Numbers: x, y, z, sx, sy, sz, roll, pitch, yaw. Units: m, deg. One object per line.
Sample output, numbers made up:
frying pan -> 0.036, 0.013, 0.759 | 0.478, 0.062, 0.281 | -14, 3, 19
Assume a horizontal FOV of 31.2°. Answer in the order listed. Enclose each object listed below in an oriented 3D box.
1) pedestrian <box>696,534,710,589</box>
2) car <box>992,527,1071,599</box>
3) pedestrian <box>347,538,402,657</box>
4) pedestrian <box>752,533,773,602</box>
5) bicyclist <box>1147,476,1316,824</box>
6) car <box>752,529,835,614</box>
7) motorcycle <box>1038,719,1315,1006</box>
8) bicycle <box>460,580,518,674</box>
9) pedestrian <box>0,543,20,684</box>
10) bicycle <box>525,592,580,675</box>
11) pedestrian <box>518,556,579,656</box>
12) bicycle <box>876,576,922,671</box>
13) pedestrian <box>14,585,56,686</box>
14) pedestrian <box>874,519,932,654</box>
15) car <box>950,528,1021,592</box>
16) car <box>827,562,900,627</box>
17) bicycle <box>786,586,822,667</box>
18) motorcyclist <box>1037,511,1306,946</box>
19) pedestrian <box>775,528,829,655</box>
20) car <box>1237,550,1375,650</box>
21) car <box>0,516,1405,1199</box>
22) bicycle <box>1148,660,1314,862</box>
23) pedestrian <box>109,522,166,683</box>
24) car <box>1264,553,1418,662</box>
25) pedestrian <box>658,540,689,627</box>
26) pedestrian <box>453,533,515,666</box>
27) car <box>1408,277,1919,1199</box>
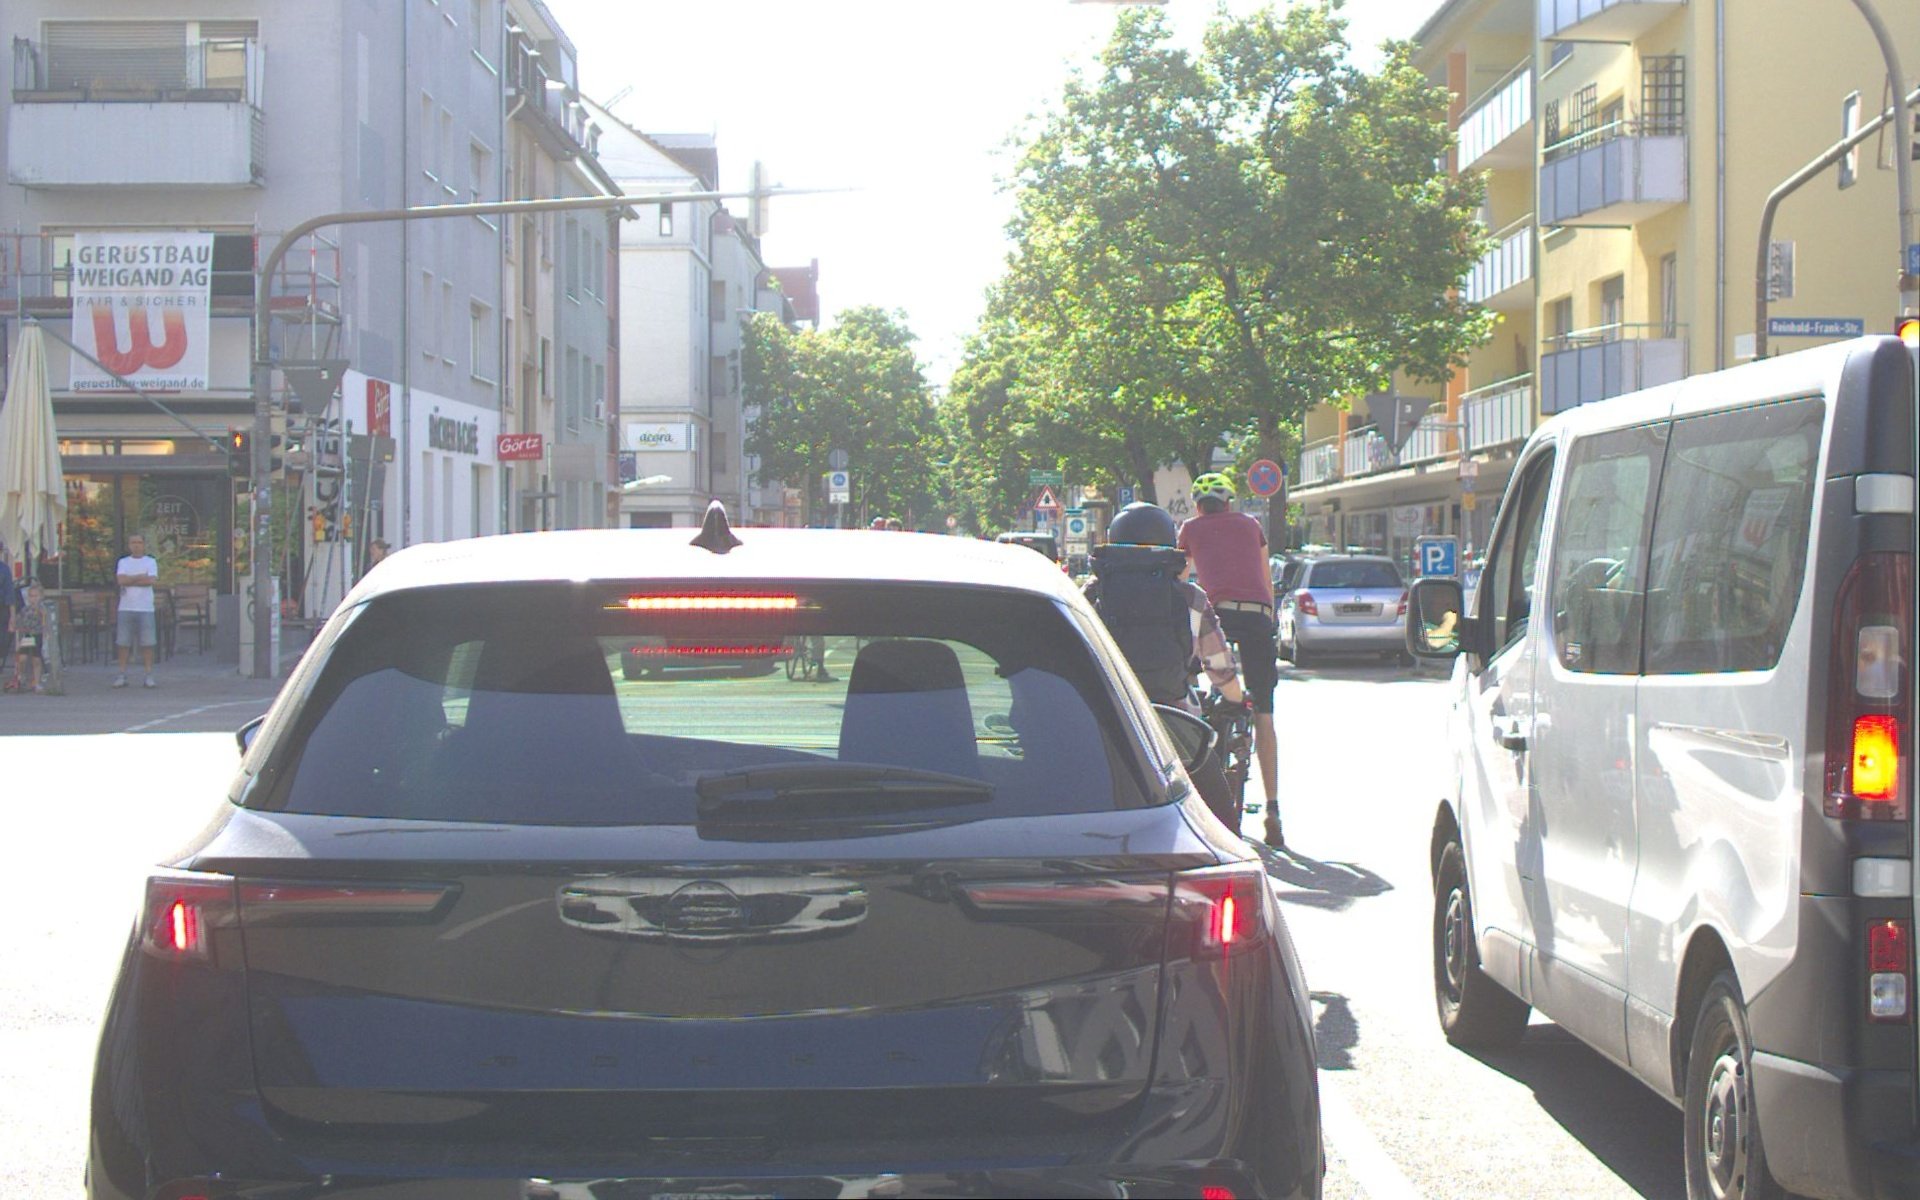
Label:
pedestrian -> -7.805, -1.187, 104.525 | 0.402, 1.669, 0.418 | 0, 1, -1
car -> 1.744, -0.935, 85.021 | 1.902, 1.722, 4.073 | 0, 1, 0
pedestrian -> -7.514, -0.044, 44.132 | 0.617, 1.516, 0.725 | 0, 1, -3
pedestrian -> -4.850, -0.805, 84.445 | 0.488, 1.684, 0.588 | 0, 1, -1
bicyclist -> 1.367, 0.235, 17.543 | 0.689, 1.707, 1.414 | 0, 1, -2
car -> -3.977, -0.708, 82.702 | 1.855, 2.007, 3.881 | 0, 1, -1
motorcycle -> 0.732, 0.893, 12.206 | 0.825, 0.842, 1.885 | 0, 1, -1
bicycle -> -6.014, 0.333, 44.006 | 0.521, 1.143, 2.284 | 0, 1, -2
pedestrian -> -10.605, 0.141, 37.429 | 0.584, 1.516, 0.650 | 0, 1, -3
bicycle -> -5.191, 0.416, 43.882 | 0.521, 0.989, 2.340 | 0, 1, -2
pedestrian -> -5.206, 0.071, 43.568 | 0.706, 1.249, 0.802 | 0, 1, -2
bicycle -> -0.781, 0.284, 43.455 | 0.521, 1.143, 2.170 | 0, 1, -2
pedestrian -> -10.089, 0.381, 37.491 | 0.355, 1.088, 0.462 | 0, 1, -3
pedestrian -> -0.719, -0.176, 43.377 | 0.706, 1.695, 0.802 | 0, 1, -2
car -> 0.696, -1.107, 94.892 | 1.902, 1.722, 4.000 | 0, 1, 0
car -> -2.640, -0.161, 94.781 | 1.825, 1.722, 4.000 | 0, 1, 1
bicycle -> -1.992, 0.323, 43.971 | 0.443, 0.989, 2.069 | 0, 1, -2
motorcyclist -> 0.743, 0.436, 12.420 | 0.864, 1.497, 1.160 | 0, 1, -2
pedestrian -> -2.014, -0.113, 43.796 | 0.680, 1.600, 0.762 | 0, 1, -2
car -> 5.177, -0.030, 51.894 | 1.634, 1.428, 4.000 | 0, 1, -1
car -> -0.413, 0.626, 6.281 | 1.770, 1.525, 4.001 | 0, 1, -2
bicycle -> 1.370, 0.797, 17.726 | 0.577, 0.901, 2.301 | 0, 1, -2
pedestrian -> -9.099, 0.026, 38.028 | 0.561, 1.769, 0.584 | 0, 1, -9
car -> 5.201, 0.072, 47.275 | 1.634, 1.428, 3.957 | 0, 1, -1
pedestrian -> -5.599, -0.323, 67.223 | 0.570, 1.684, 0.588 | 0, 1, -1
pedestrian -> -6.047, -0.014, 43.675 | 0.706, 1.672, 0.802 | 0, 1, -2
car -> 2.448, 0.417, 8.480 | 1.993, 1.972, 4.895 | 2, 1, 0
